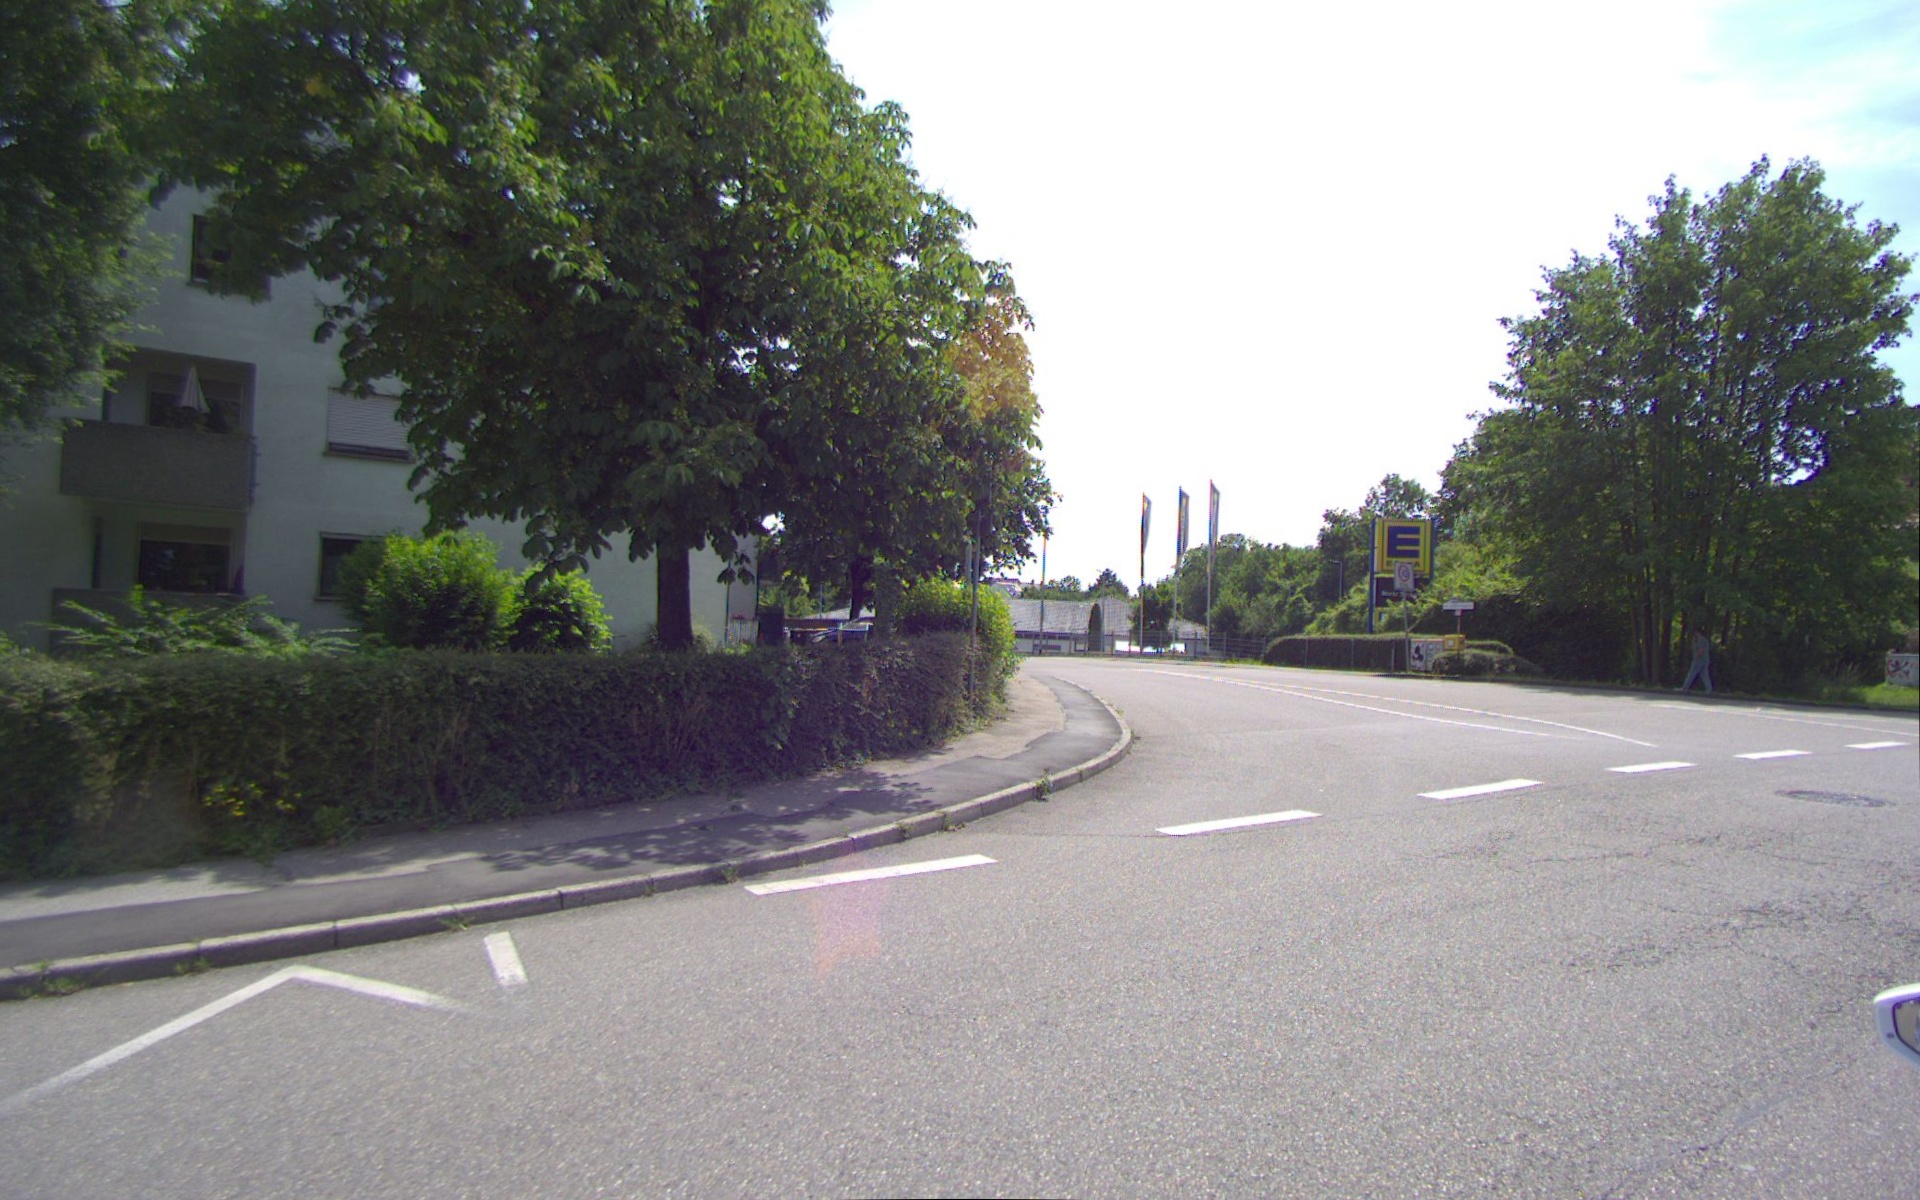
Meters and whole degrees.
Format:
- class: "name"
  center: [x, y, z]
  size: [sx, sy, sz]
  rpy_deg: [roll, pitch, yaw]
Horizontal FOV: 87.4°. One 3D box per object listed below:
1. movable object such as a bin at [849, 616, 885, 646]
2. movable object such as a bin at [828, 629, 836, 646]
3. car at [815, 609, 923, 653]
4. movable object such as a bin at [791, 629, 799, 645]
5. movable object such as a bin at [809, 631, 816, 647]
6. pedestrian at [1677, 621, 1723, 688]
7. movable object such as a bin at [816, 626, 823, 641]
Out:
- class: "movable object such as a bin"
  center: [-4.483, 1.524, 48.591]
  size: [1.485, 1.405, 2.209]
  rpy_deg: [0, -2, 2]
- class: "movable object such as a bin"
  center: [-6.231, 1.809, 48.894]
  size: [0.233, 0.815, 0.229]
  rpy_deg: [1, -1, 44]
- class: "car"
  center: [-3.149, 1.077, 34.758]
  size: [3.545, 1.380, 1.394]
  rpy_deg: [2, -1, -13]
- class: "movable object such as a bin"
  center: [-7.890, 1.783, 48.012]
  size: [0.233, 0.738, 0.229]
  rpy_deg: [1, -1, 44]
- class: "movable object such as a bin"
  center: [-7.091, 1.863, 48.298]
  size: [0.233, 0.738, 0.229]
  rpy_deg: [1, -1, 44]
- class: "pedestrian"
  center: [20.221, 1.492, 27.464]
  size: [0.678, 1.800, 0.736]
  rpy_deg: [2, -3, -12]
- class: "movable object such as a bin"
  center: [-6.764, 1.611, 48.450]
  size: [0.233, 0.738, 0.229]
  rpy_deg: [1, -1, 44]
